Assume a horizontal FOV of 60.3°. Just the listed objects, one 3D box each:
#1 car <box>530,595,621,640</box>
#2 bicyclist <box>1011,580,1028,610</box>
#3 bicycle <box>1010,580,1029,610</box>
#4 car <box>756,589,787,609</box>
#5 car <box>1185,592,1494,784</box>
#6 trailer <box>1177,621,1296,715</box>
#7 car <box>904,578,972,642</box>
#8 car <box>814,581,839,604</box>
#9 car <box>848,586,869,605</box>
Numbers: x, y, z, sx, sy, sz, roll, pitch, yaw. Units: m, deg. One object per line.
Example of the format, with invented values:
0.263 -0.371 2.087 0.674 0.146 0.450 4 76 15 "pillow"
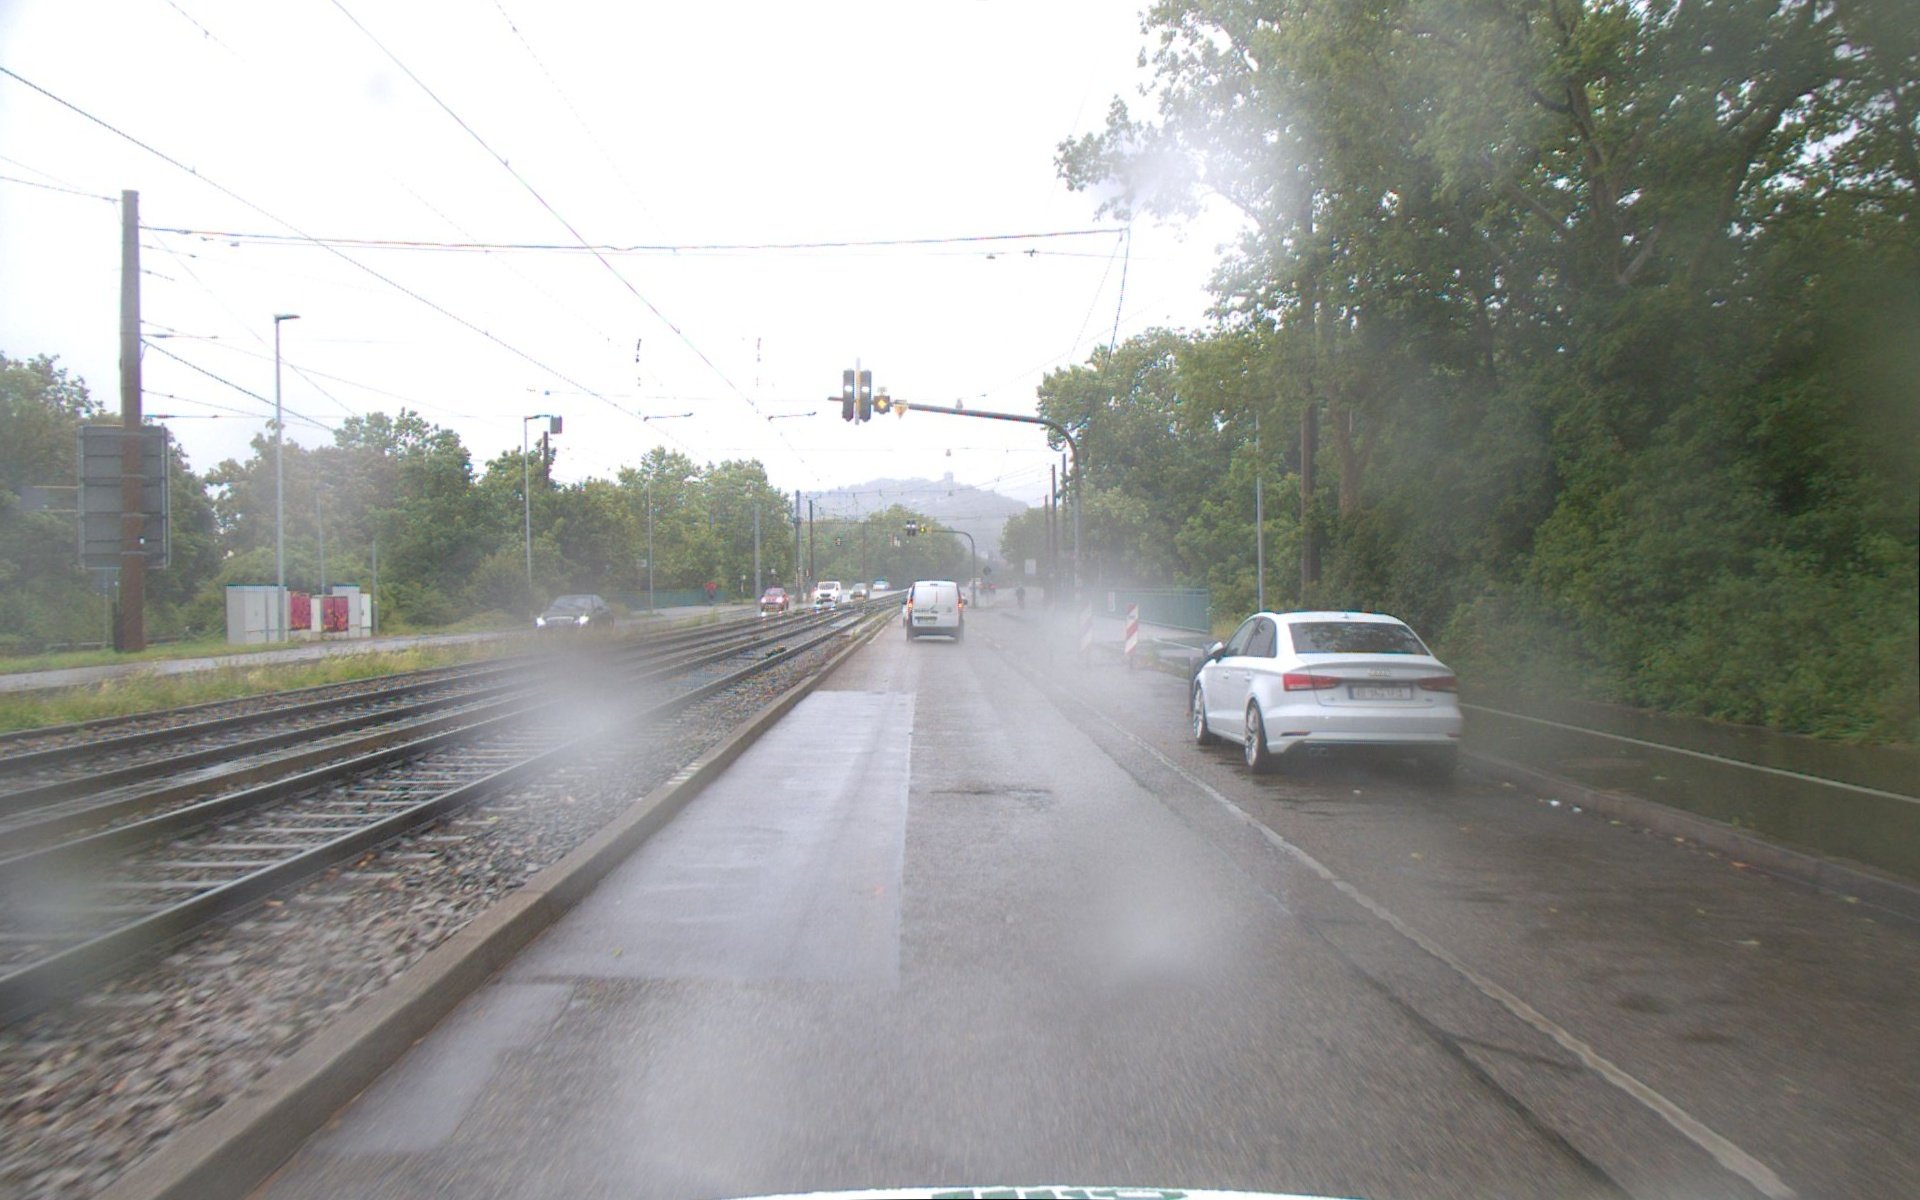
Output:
-12.980 0.551 56.127 1.953 1.429 5.384 -1 0 -2 "car"
4.112 -0.361 114.106 1.078 2.049 1.674 0 -1 -2 "bicyclist"
4.094 -0.352 114.212 1.083 2.049 3.050 0 0 -2 "bicycle"
-13.517 -0.081 118.715 1.783 1.422 3.999 -1 0 -2 "car"
3.382 0.700 15.650 1.782 1.512 4.479 1 0 -1 "car"
3.622 0.856 22.020 1.348 1.064 3.444 1 0 6 "trailer"
-0.720 0.276 50.510 1.953 1.881 3.998 0 0 -3 "car"
-12.187 -0.640 151.328 1.953 2.049 4.000 0 0 0 "car"
-10.890 -0.467 177.965 1.953 1.982 4.000 0 0 0 "car"
